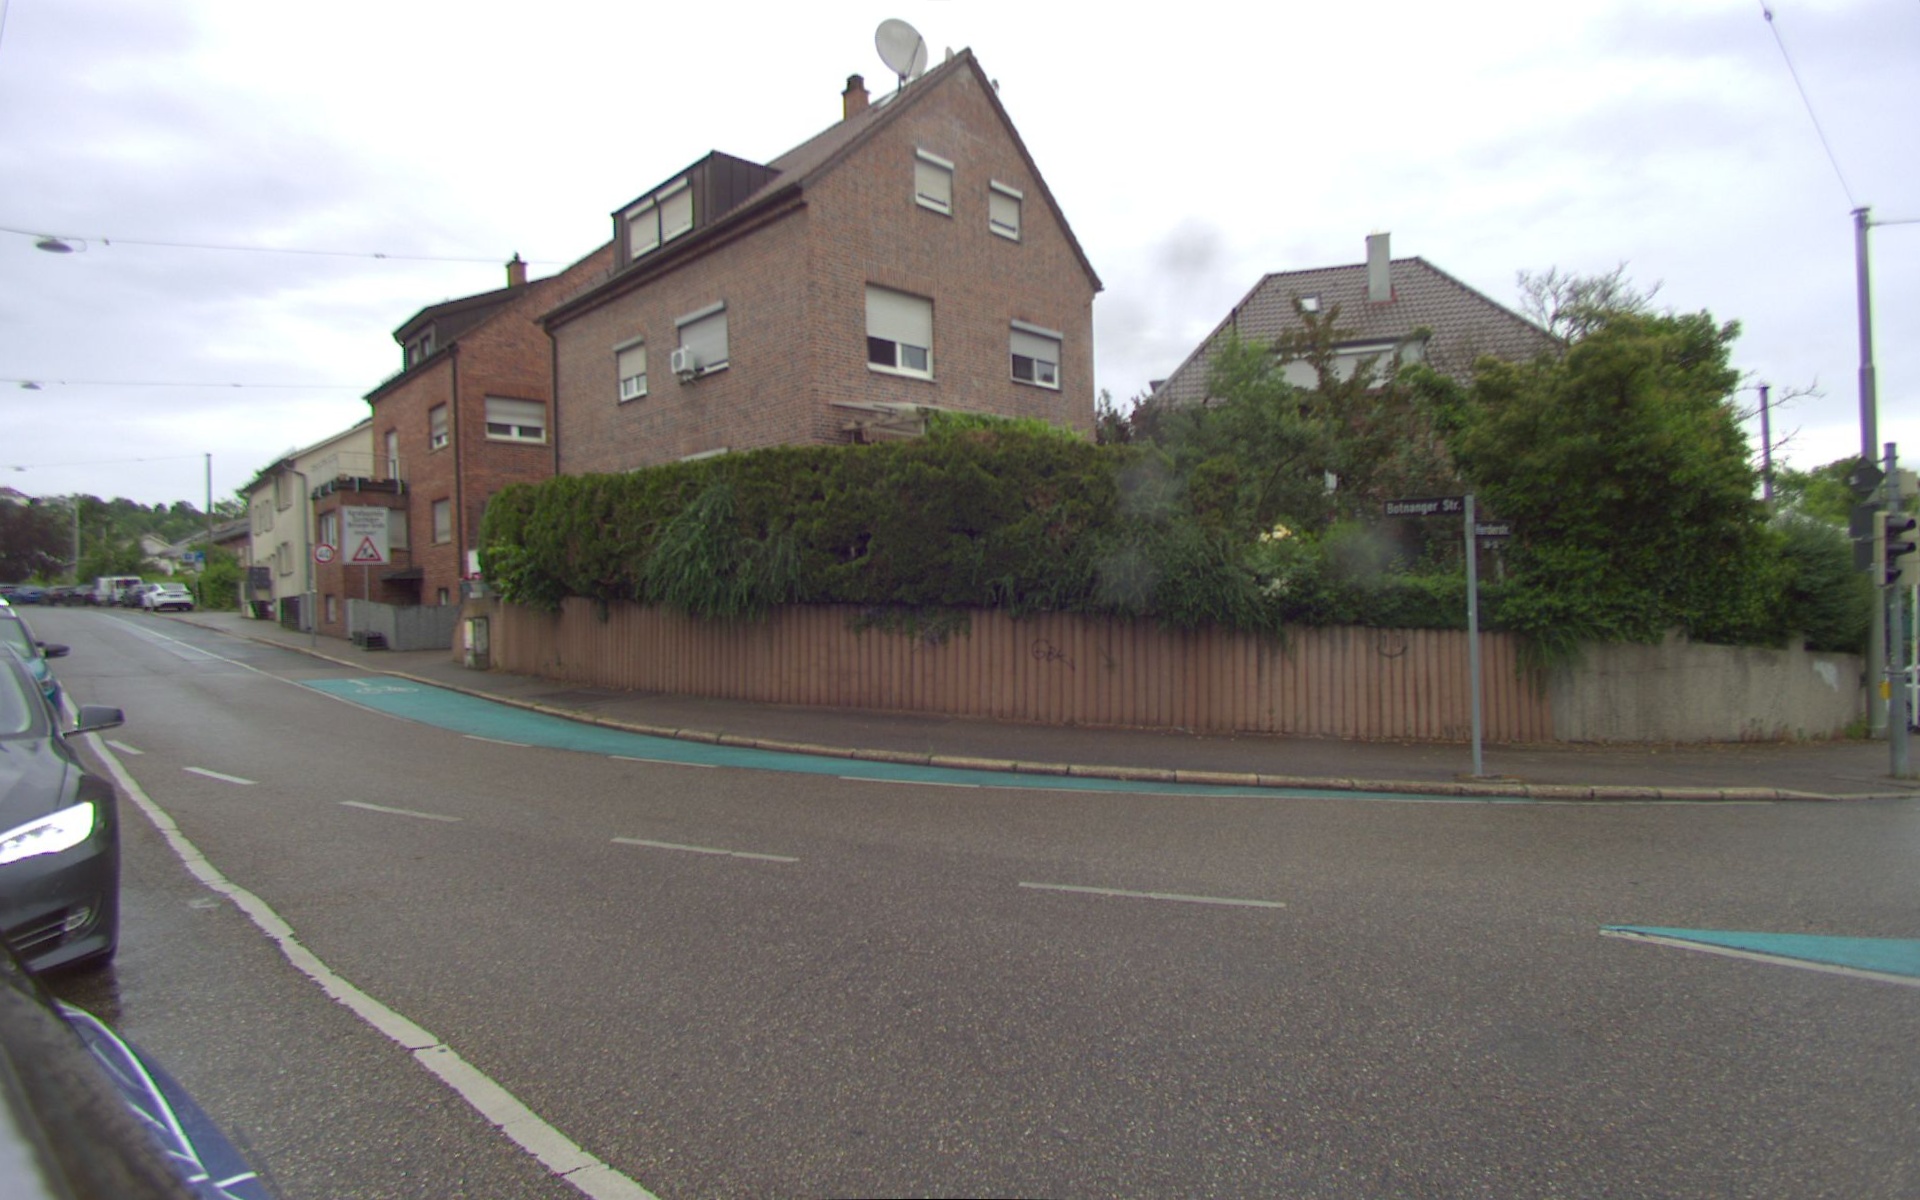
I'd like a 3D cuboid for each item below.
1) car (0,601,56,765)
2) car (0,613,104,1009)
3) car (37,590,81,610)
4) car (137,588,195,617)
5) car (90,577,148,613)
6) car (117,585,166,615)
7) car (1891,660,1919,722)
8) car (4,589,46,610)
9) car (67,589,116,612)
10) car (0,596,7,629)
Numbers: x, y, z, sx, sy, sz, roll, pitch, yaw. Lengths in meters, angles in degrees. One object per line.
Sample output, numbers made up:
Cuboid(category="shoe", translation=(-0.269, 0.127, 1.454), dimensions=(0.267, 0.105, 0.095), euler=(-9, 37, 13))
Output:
Cuboid(category="car", translation=(-11.043, 0.808, 10.878), dimensions=(3.785, 1.601, 1.765), euler=(0, 0, 45))
Cuboid(category="car", translation=(-5.403, 0.800, 4.702), dimensions=(4.002, 1.426, 1.845), euler=(0, 0, 45))
Cuboid(category="car", translation=(-66.581, 0.011, 74.759), dimensions=(3.854, 1.407, 1.635), euler=(-1, 2, 36))
Cuboid(category="car", translation=(-46.424, 0.150, 59.133), dimensions=(4.262, 1.577, 1.921), euler=(0, 2, 42))
Cuboid(category="car", translation=(-57.019, -0.334, 68.584), dimensions=(4.544, 2.303, 2.229), euler=(0, 2, 41))
Cuboid(category="car", translation=(-52.373, -0.023, 64.726), dimensions=(4.262, 1.817, 1.791), euler=(0, 2, 42))
Cuboid(category="car", translation=(26.004, 2.321, 25.369), dimensions=(1.837, 1.644, 4.297), euler=(-2, -3, 11))
Cuboid(category="car", translation=(-71.299, -0.017, 77.145), dimensions=(3.895, 1.501, 1.605), euler=(-1, 2, 36))
Cuboid(category="car", translation=(-61.475, 0.053, 71.600), dimensions=(4.002, 1.501, 1.636), euler=(-1, 2, 34))
Cuboid(category="car", translation=(-54.490, 0.749, 56.435), dimensions=(4.001, 1.744, 1.792), euler=(-3, -2, 44))
